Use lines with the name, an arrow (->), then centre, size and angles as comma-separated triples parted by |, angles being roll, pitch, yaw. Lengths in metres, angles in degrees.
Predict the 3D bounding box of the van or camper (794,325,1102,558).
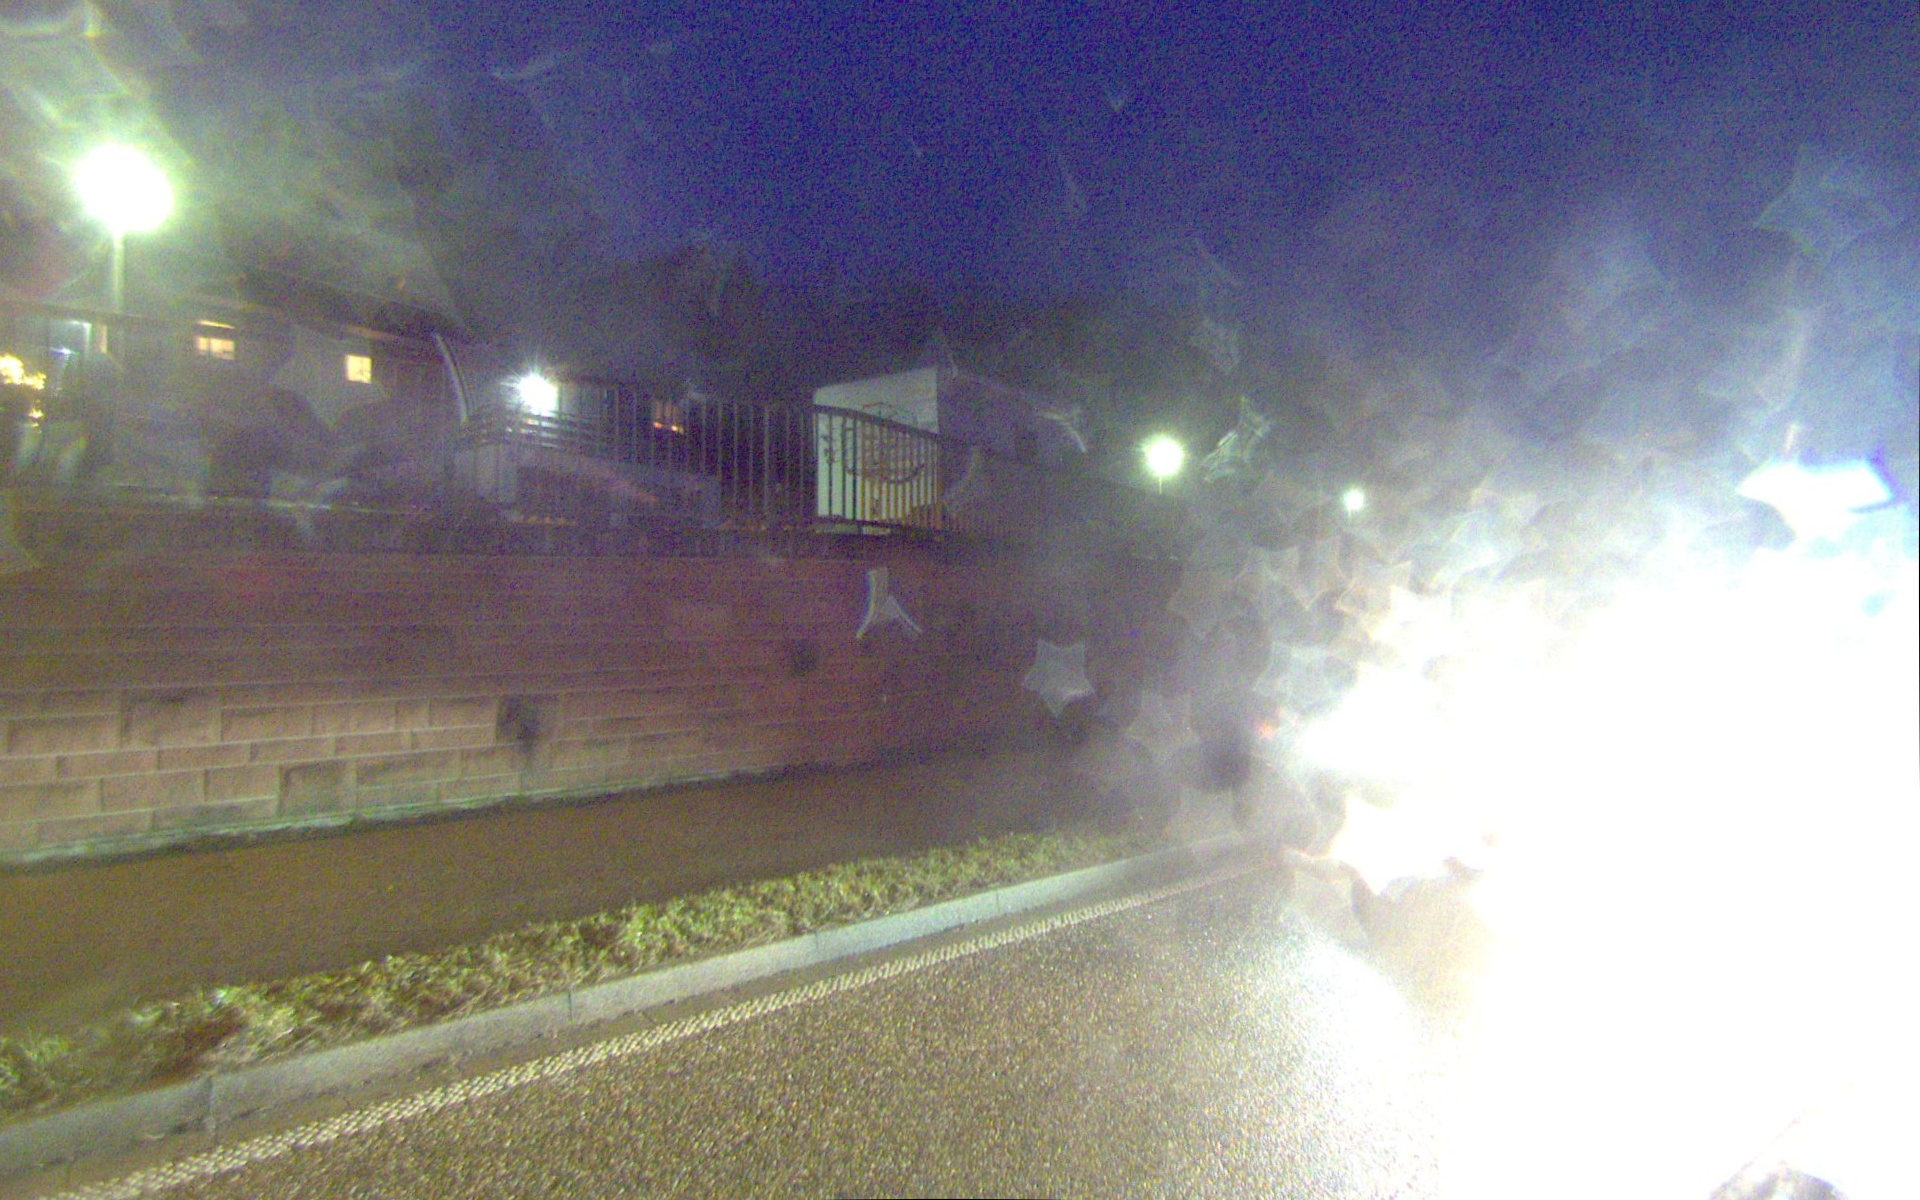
van or camper -> 0.085, -2.192, 16.259 | 2.395, 2.828, 5.712 | 0, 0, 30

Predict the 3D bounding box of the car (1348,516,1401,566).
car -> 22.256, -3.107, 54.220 | 1.922, 2.451, 4.206 | 0, 0, 32

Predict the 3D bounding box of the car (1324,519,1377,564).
car -> 19.232, -2.842, 49.768 | 1.721, 2.039, 3.658 | 0, 0, 32

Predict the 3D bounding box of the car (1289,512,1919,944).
car -> 4.336, 0.491, 6.282 | 4.848, 1.757, 1.840 | -1, 0, -35

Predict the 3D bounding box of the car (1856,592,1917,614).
car -> 92.529, 0.269, 101.131 | 2.055, 2.039, 4.707 | 0, 1, 6

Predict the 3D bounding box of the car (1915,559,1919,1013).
car -> 5.582, 0.633, 4.278 | 4.278, 1.602, 1.825 | -1, 0, -41

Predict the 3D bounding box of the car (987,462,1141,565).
car -> 2.483, -1.879, 23.271 | 1.985, 2.039, 3.954 | 0, 0, 32

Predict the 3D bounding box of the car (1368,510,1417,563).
car -> 25.135, -3.639, 58.731 | 1.922, 2.810, 4.206 | 0, 0, 32
